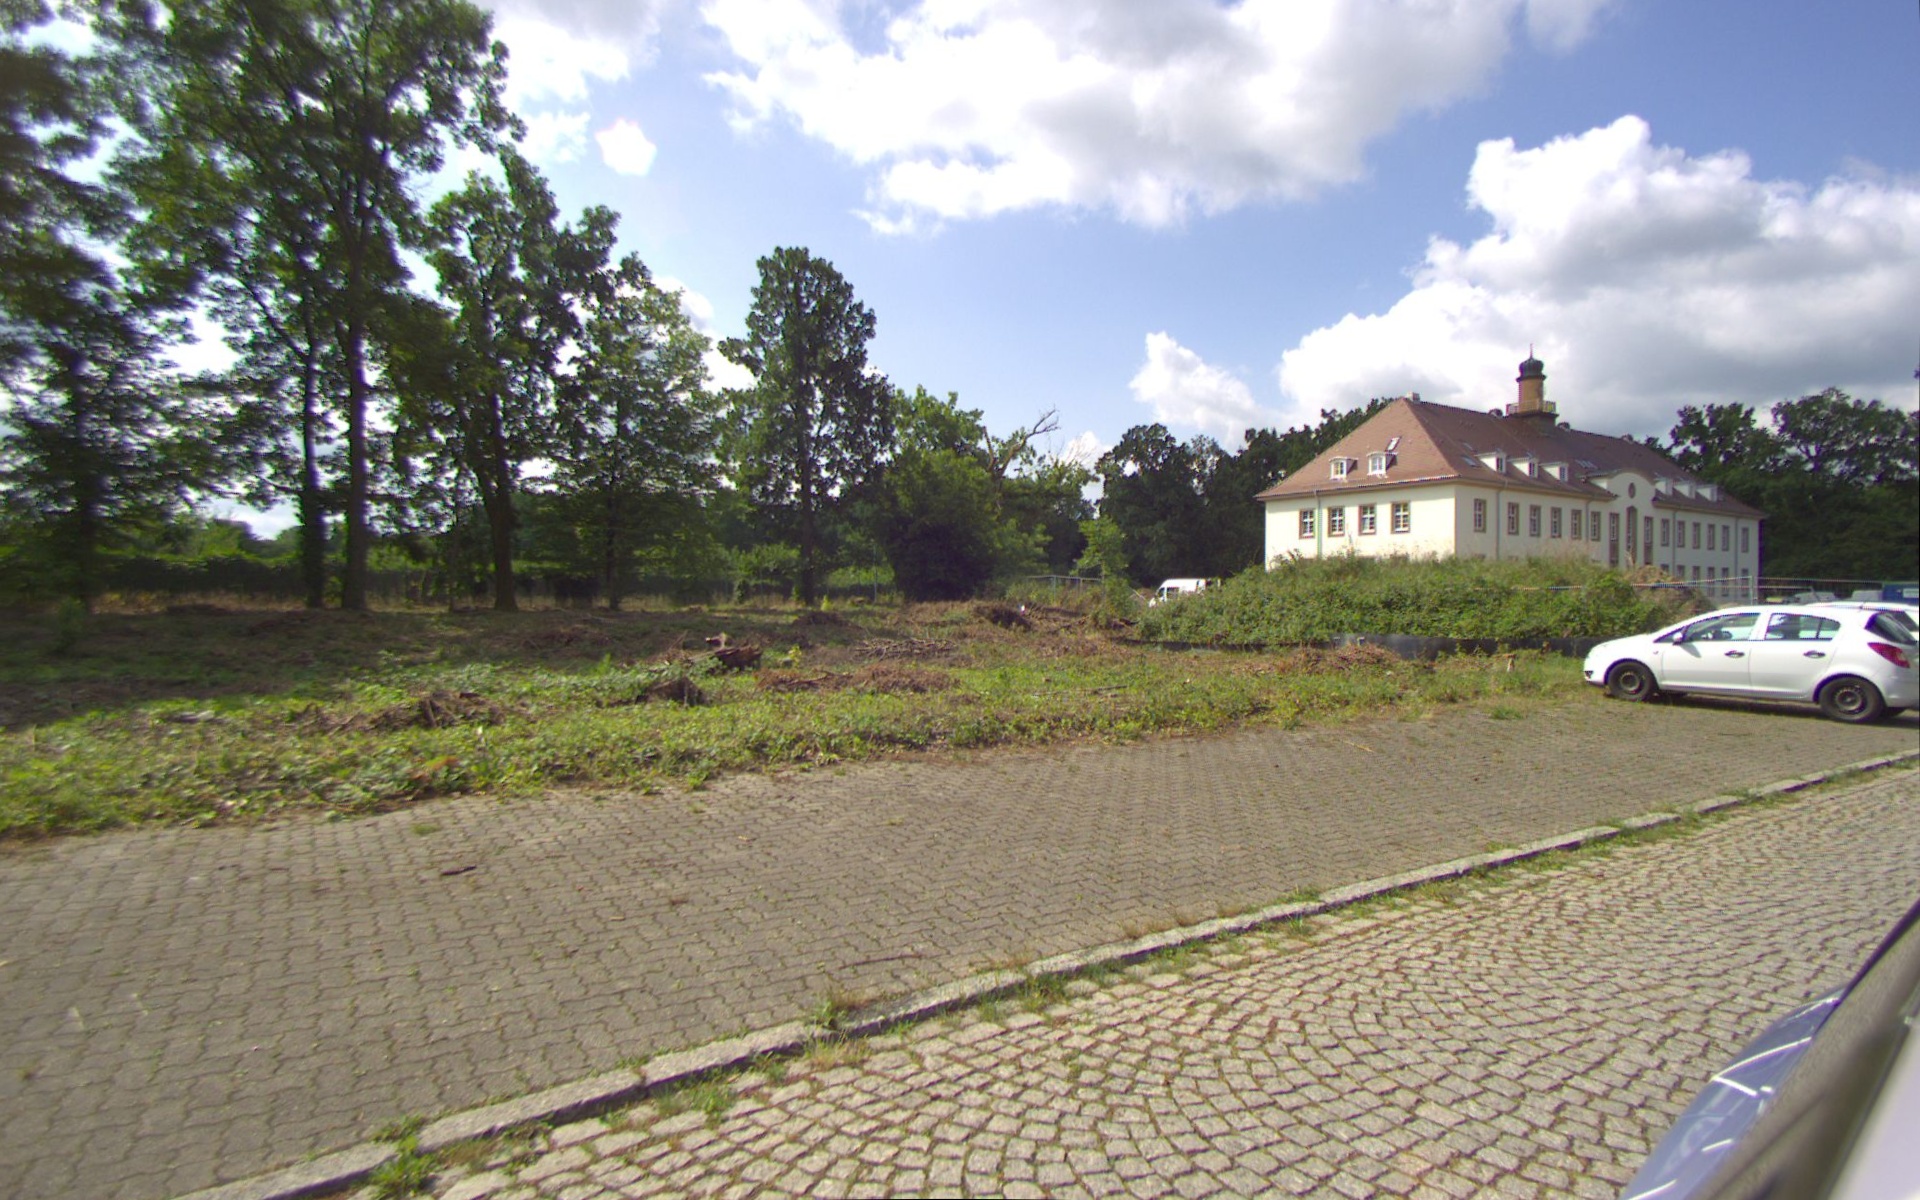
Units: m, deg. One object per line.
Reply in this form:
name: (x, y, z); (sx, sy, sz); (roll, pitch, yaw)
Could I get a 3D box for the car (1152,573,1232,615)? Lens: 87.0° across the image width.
car: (15.051, -0.439, 66.009); (2.200, 2.623, 5.448); (0, 1, -24)

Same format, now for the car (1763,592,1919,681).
car: (17.548, 0.675, 18.272); (1.713, 1.493, 4.468); (0, 2, -36)

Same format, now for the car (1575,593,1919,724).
car: (11.288, 0.702, 14.351); (1.671, 1.482, 4.057); (0, 2, -35)

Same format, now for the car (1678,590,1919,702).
car: (13.871, 0.660, 15.775); (1.713, 1.525, 4.001); (0, 2, -35)

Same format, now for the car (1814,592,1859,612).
car: (75.073, 0.151, 86.708); (3.960, 1.704, 1.805); (0, 1, -31)

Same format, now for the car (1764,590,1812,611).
car: (73.233, 0.047, 89.490); (4.615, 1.750, 1.887); (0, 1, -32)
